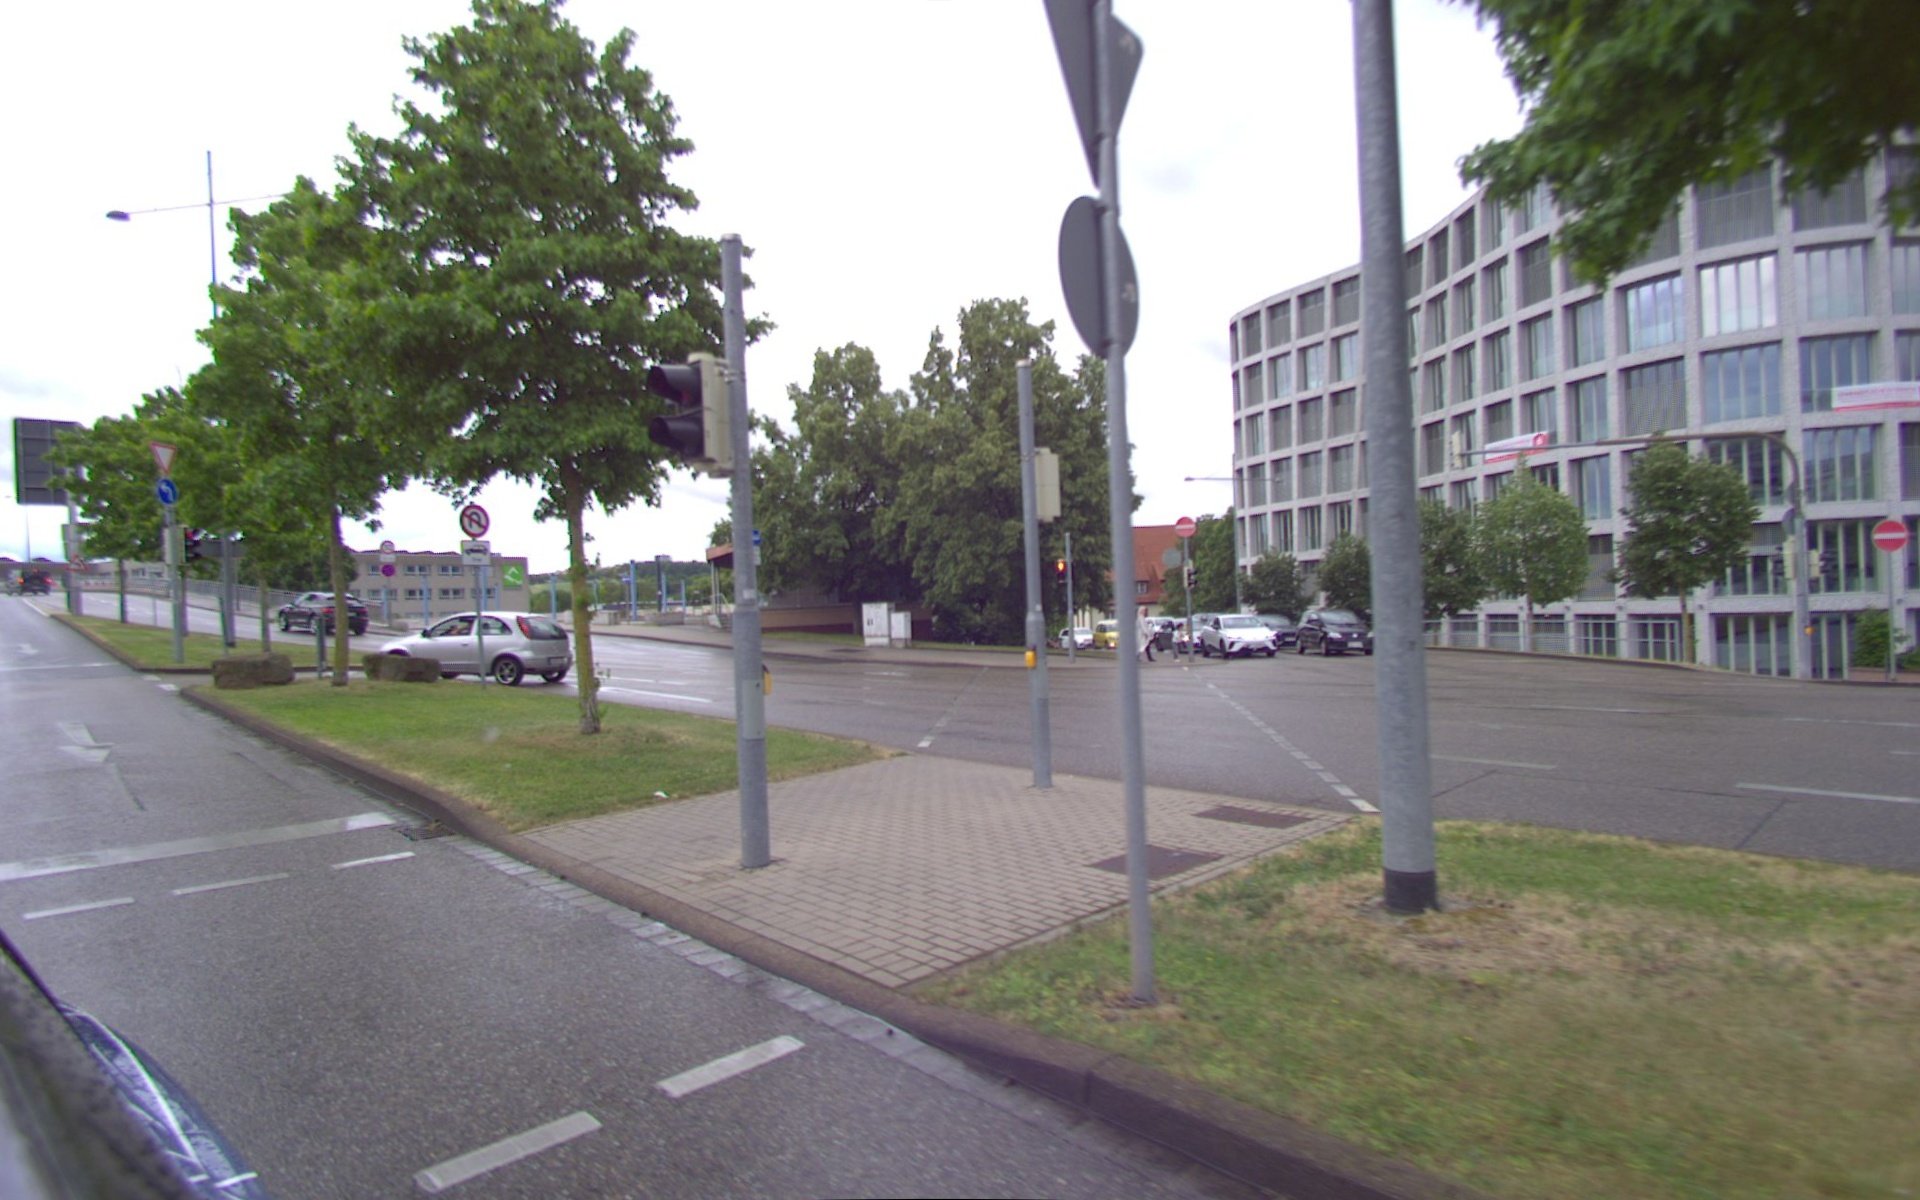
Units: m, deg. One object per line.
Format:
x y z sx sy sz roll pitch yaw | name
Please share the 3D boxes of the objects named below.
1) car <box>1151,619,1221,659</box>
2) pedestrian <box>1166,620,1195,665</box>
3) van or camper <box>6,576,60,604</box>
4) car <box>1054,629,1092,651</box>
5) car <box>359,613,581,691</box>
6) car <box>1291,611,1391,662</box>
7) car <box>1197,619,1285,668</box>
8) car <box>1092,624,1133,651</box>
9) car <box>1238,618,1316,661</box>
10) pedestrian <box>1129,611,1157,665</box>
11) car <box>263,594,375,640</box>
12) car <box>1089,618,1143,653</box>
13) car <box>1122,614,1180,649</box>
9.214 1.560 41.555 1.702 1.519 4.059 -1 -1 -4 | car
6.571 1.261 30.176 0.629 1.302 0.646 1 -1 33 | pedestrian
-73.264 -0.812 79.959 5.276 2.088 2.196 2 0 37 | van or camper
7.683 2.705 68.972 1.547 1.405 3.189 -1 -1 -13 | car
-9.782 1.000 20.293 3.836 1.459 1.631 0 -1 12 | car
12.639 1.192 33.810 1.703 1.580 3.840 -1 -1 -2 | car
9.779 1.475 35.553 1.861 1.580 4.141 -1 -1 0 | car
9.483 2.312 63.239 1.547 1.564 3.188 -1 -1 -11 | car
12.498 1.520 40.143 1.703 1.580 3.840 -1 -1 -2 | car
5.384 1.109 29.846 0.643 1.582 0.632 1 -1 -5 | pedestrian
-25.767 0.638 40.637 4.841 1.674 1.894 1 1 32 | car
7.884 1.784 51.425 1.701 1.711 3.658 -1 -1 -8 | car
10.594 1.717 56.460 1.700 1.832 4.439 -1 -1 -10 | car
